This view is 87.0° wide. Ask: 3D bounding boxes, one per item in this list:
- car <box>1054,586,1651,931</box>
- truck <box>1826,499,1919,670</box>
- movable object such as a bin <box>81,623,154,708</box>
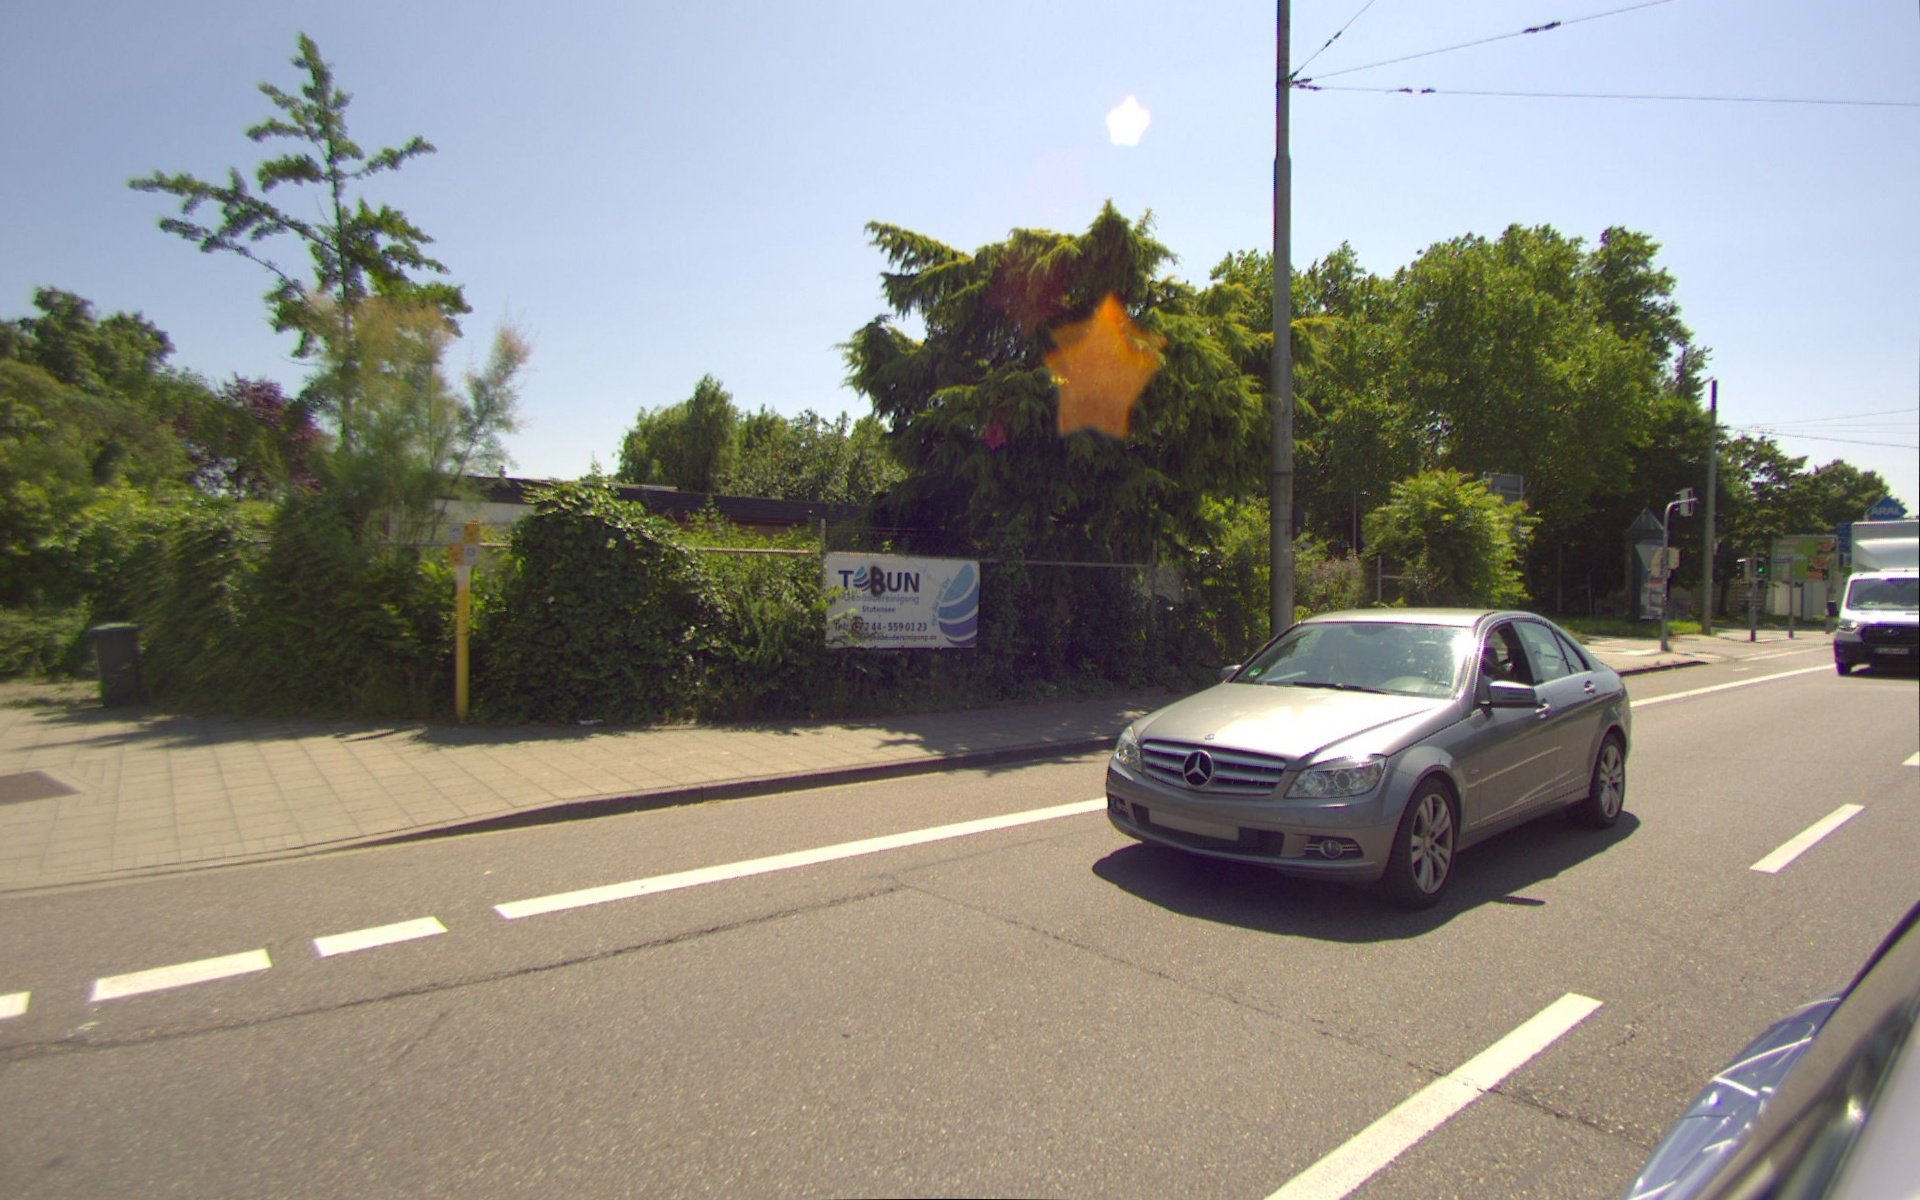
[{"bbox_3d":[2.626,0.670,6.353,3.901,1.478,1.902,0,0,-41],"label":"car"},{"bbox_3d":[21.660,-0.346,22.518,8.164,3.319,2.293,-1,0,-40],"label":"truck"},{"bbox_3d":[-9.617,0.729,11.575,0.626,0.914,0.630,0,0,-39],"label":"movable object such as a bin"}]
